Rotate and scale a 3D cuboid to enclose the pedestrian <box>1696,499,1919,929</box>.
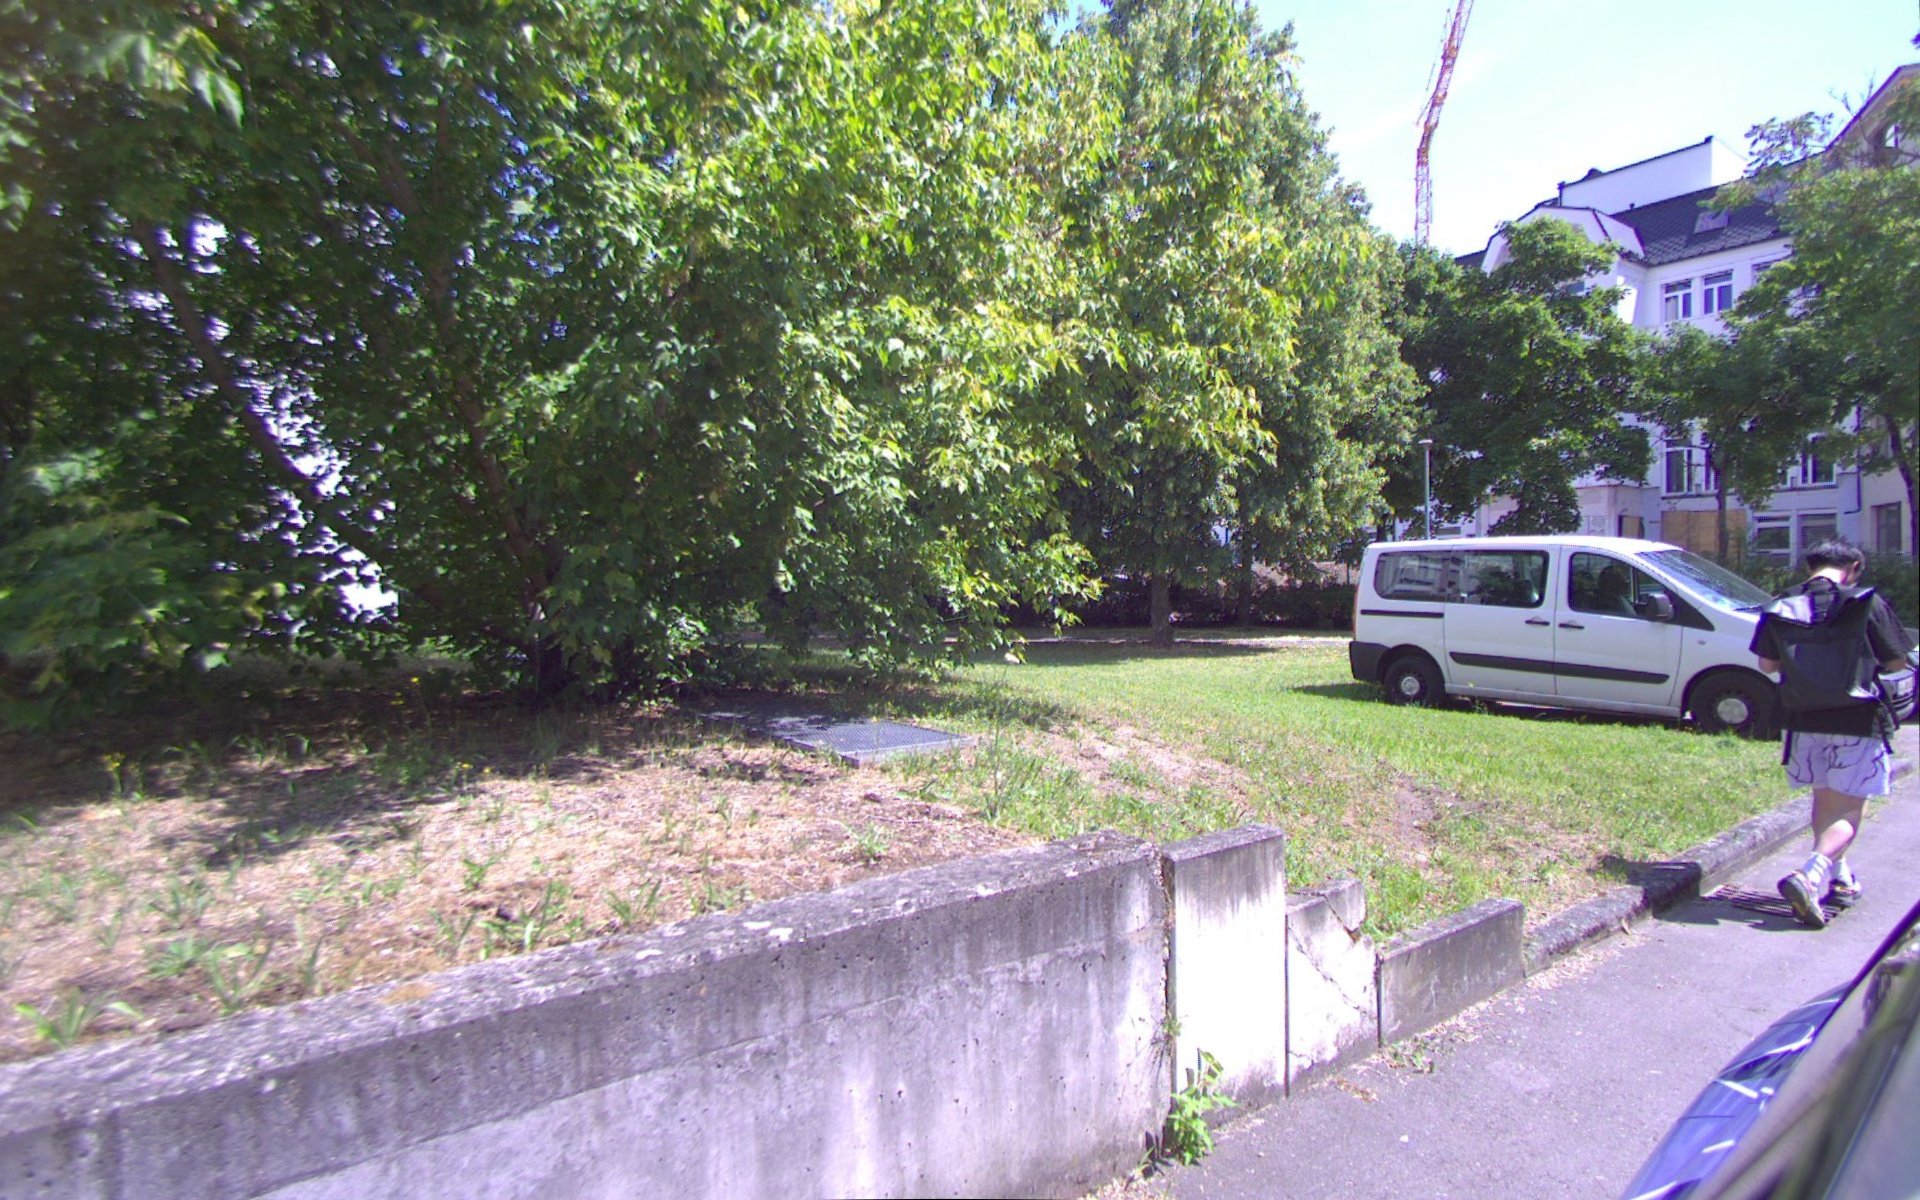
[{"bbox_3d":[4.025,0.464,4.710,0.737,1.777,0.759,-1,0,-35],"label":"pedestrian"}]

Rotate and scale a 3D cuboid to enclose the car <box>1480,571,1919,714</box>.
[{"bbox_3d":[8.794,0.382,11.733,1.799,1.369,4.626,-1,1,-36],"label":"car"}]

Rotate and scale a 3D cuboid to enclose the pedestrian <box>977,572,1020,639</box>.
[{"bbox_3d":[0.928,0.121,24.599,0.747,1.584,0.729,0,0,44],"label":"pedestrian"}]

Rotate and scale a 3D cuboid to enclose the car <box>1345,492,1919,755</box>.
[{"bbox_3d":[6.654,0.139,10.381,1.962,2.039,4.775,-2,1,-35],"label":"car"}]
